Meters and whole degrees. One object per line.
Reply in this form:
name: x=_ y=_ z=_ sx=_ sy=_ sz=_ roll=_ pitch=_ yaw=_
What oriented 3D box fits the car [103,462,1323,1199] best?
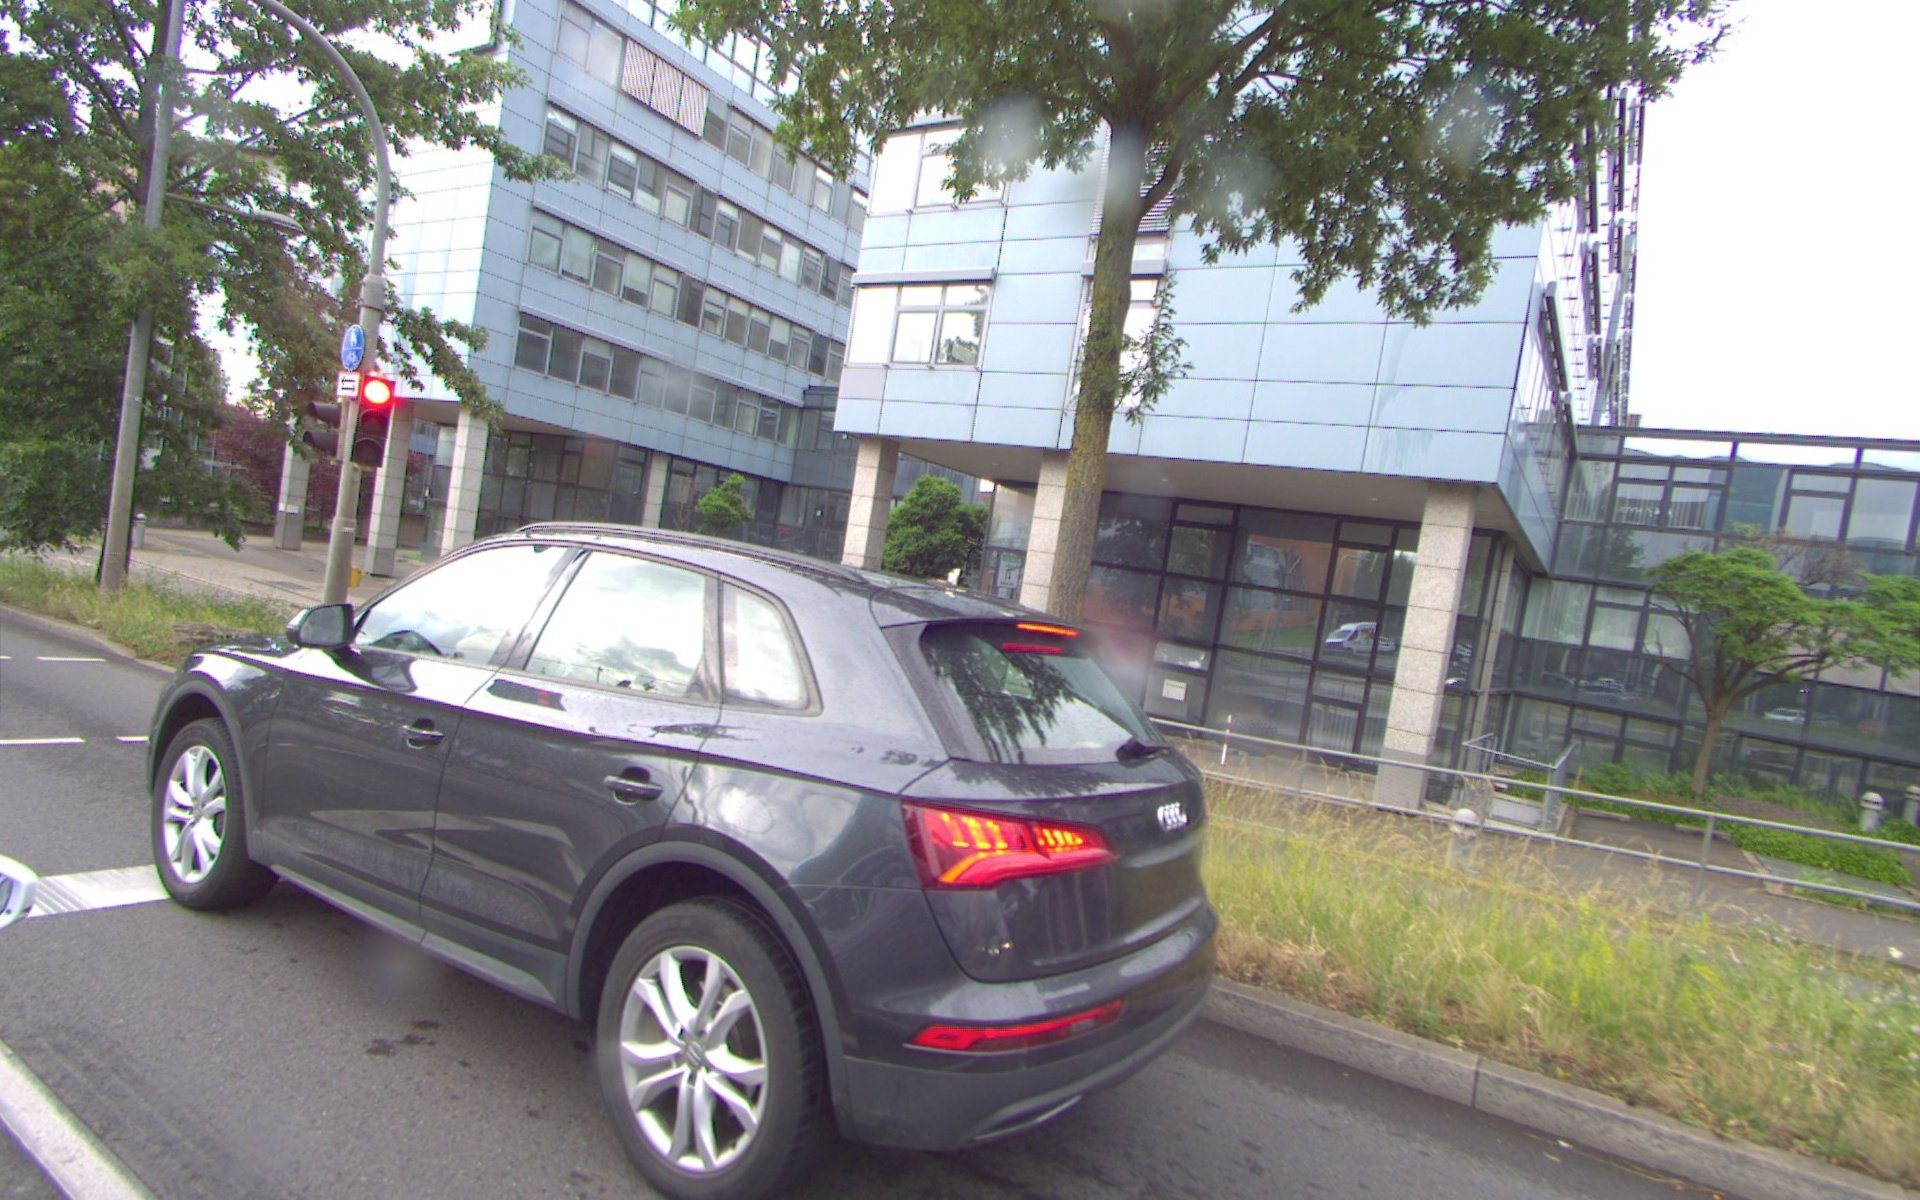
car: x=-1.172 y=0.544 z=3.840 sx=4.396 sy=1.632 sz=1.821 roll=7 pitch=-1 yaw=32
